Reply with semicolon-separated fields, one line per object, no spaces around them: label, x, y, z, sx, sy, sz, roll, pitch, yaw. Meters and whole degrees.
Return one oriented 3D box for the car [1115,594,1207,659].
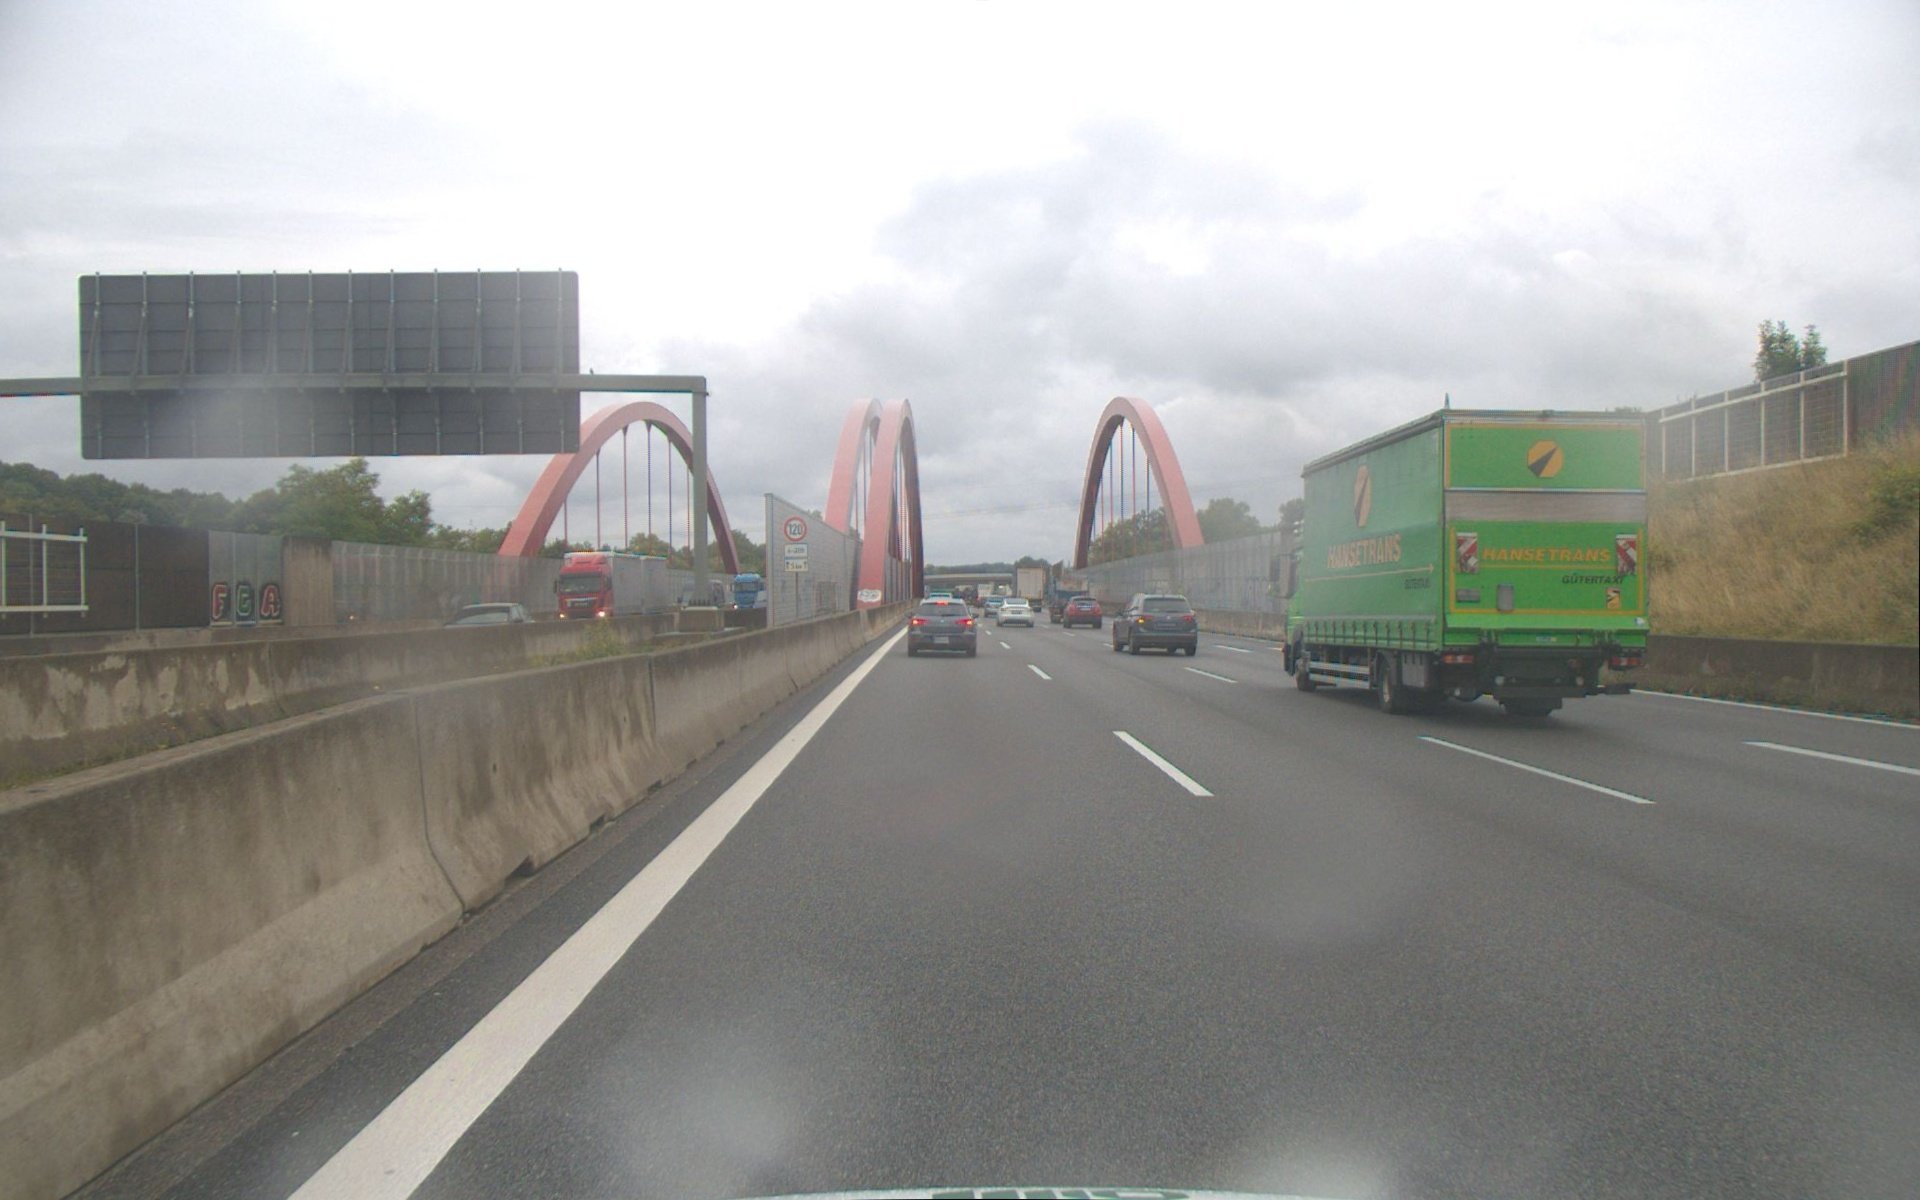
car;5.523;0.695;45.836;1.873;1.699;4.102;1;0;-3

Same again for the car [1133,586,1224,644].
car;6.682;0.427;51.023;1.953;1.647;5.326;1;0;-1

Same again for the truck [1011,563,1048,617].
truck;6.450;-0.939;153.997;2.982;4.817;7.679;1;0;-1

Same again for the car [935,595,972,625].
car;-0.328;0.471;80.567;1.745;1.431;3.625;0;0;-1

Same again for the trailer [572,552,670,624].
trailer;-19.236;-0.688;94.829;2.923;3.794;14.304;1;0;-1

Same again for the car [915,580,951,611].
car;-1.513;-0.264;91.334;1.953;1.612;3.999;-1;0;-2

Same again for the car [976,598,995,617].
car;2.901;0.828;189.096;1.953;2.049;3.999;1;0;-1

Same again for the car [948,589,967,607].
car;-0.274;-0.210;172.035;1.953;1.847;3.999;1;0;-1

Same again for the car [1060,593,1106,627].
car;6.228;0.489;84.080;1.917;1.676;3.999;1;0;-1

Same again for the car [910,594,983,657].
car;-0.332;0.602;41.555;1.728;1.478;4.000;1;0;0

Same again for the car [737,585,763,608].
car;-18.897;-0.311;148.896;1.954;2.049;4.189;1;0;-3

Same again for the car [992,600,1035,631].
car;2.720;0.795;84.896;1.953;1.512;3.999;0;0;-1

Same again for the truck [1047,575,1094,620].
truck;6.546;-0.147;98.267;2.313;2.550;6.143;1;0;-1

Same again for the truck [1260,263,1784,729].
truck;7.576;-1.207;24.868;3.916;5.358;11.218;1;0;-1

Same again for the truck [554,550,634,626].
truck;-19.102;-0.633;86.567;2.923;3.819;5.915;1;0;-1

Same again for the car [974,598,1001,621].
car;1.859;0.632;113.078;1.667;1.570;3.838;0;0;-1
